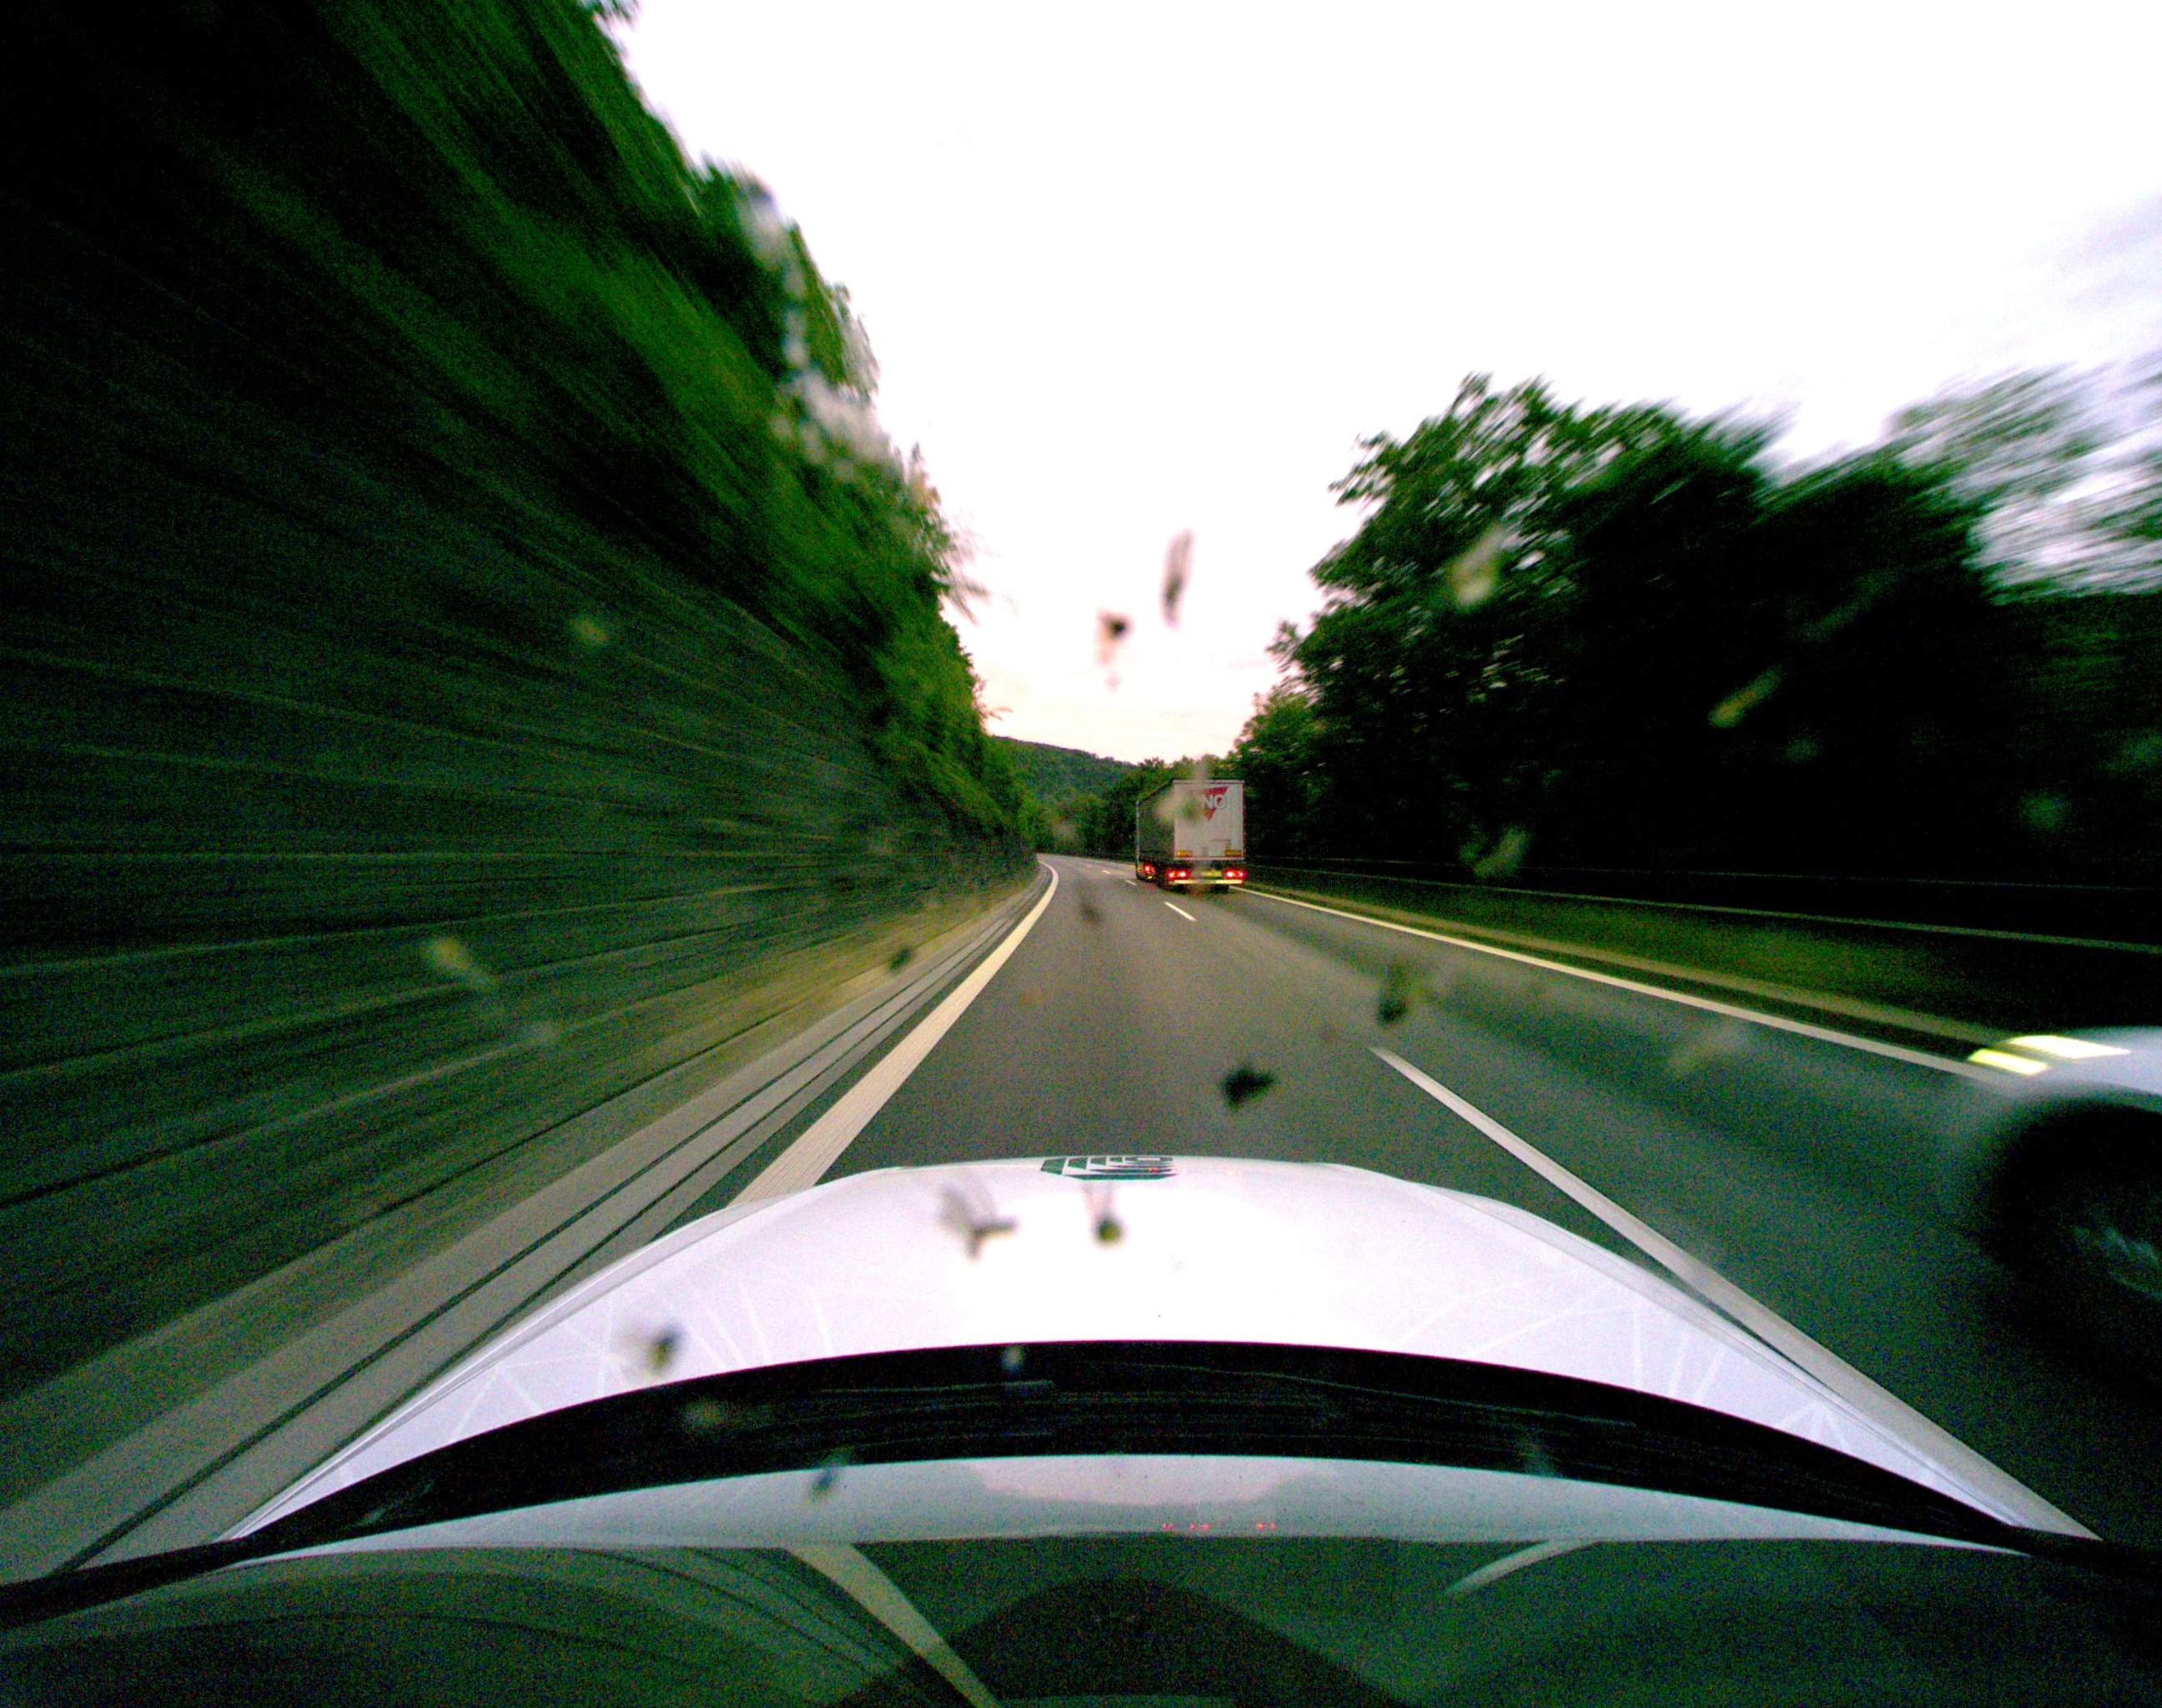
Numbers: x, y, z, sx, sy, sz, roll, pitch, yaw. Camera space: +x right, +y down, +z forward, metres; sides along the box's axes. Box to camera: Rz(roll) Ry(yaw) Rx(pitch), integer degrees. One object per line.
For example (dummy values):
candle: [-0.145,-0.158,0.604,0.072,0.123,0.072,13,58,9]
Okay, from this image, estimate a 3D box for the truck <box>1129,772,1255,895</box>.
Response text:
truck: [4.266,-0.726,35.967,3.284,4.173,16.499,0,0,0]

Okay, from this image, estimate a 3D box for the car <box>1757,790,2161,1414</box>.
car: [3.836,0.643,0.933,1.989,1.614,4.860,0,0,-3]
